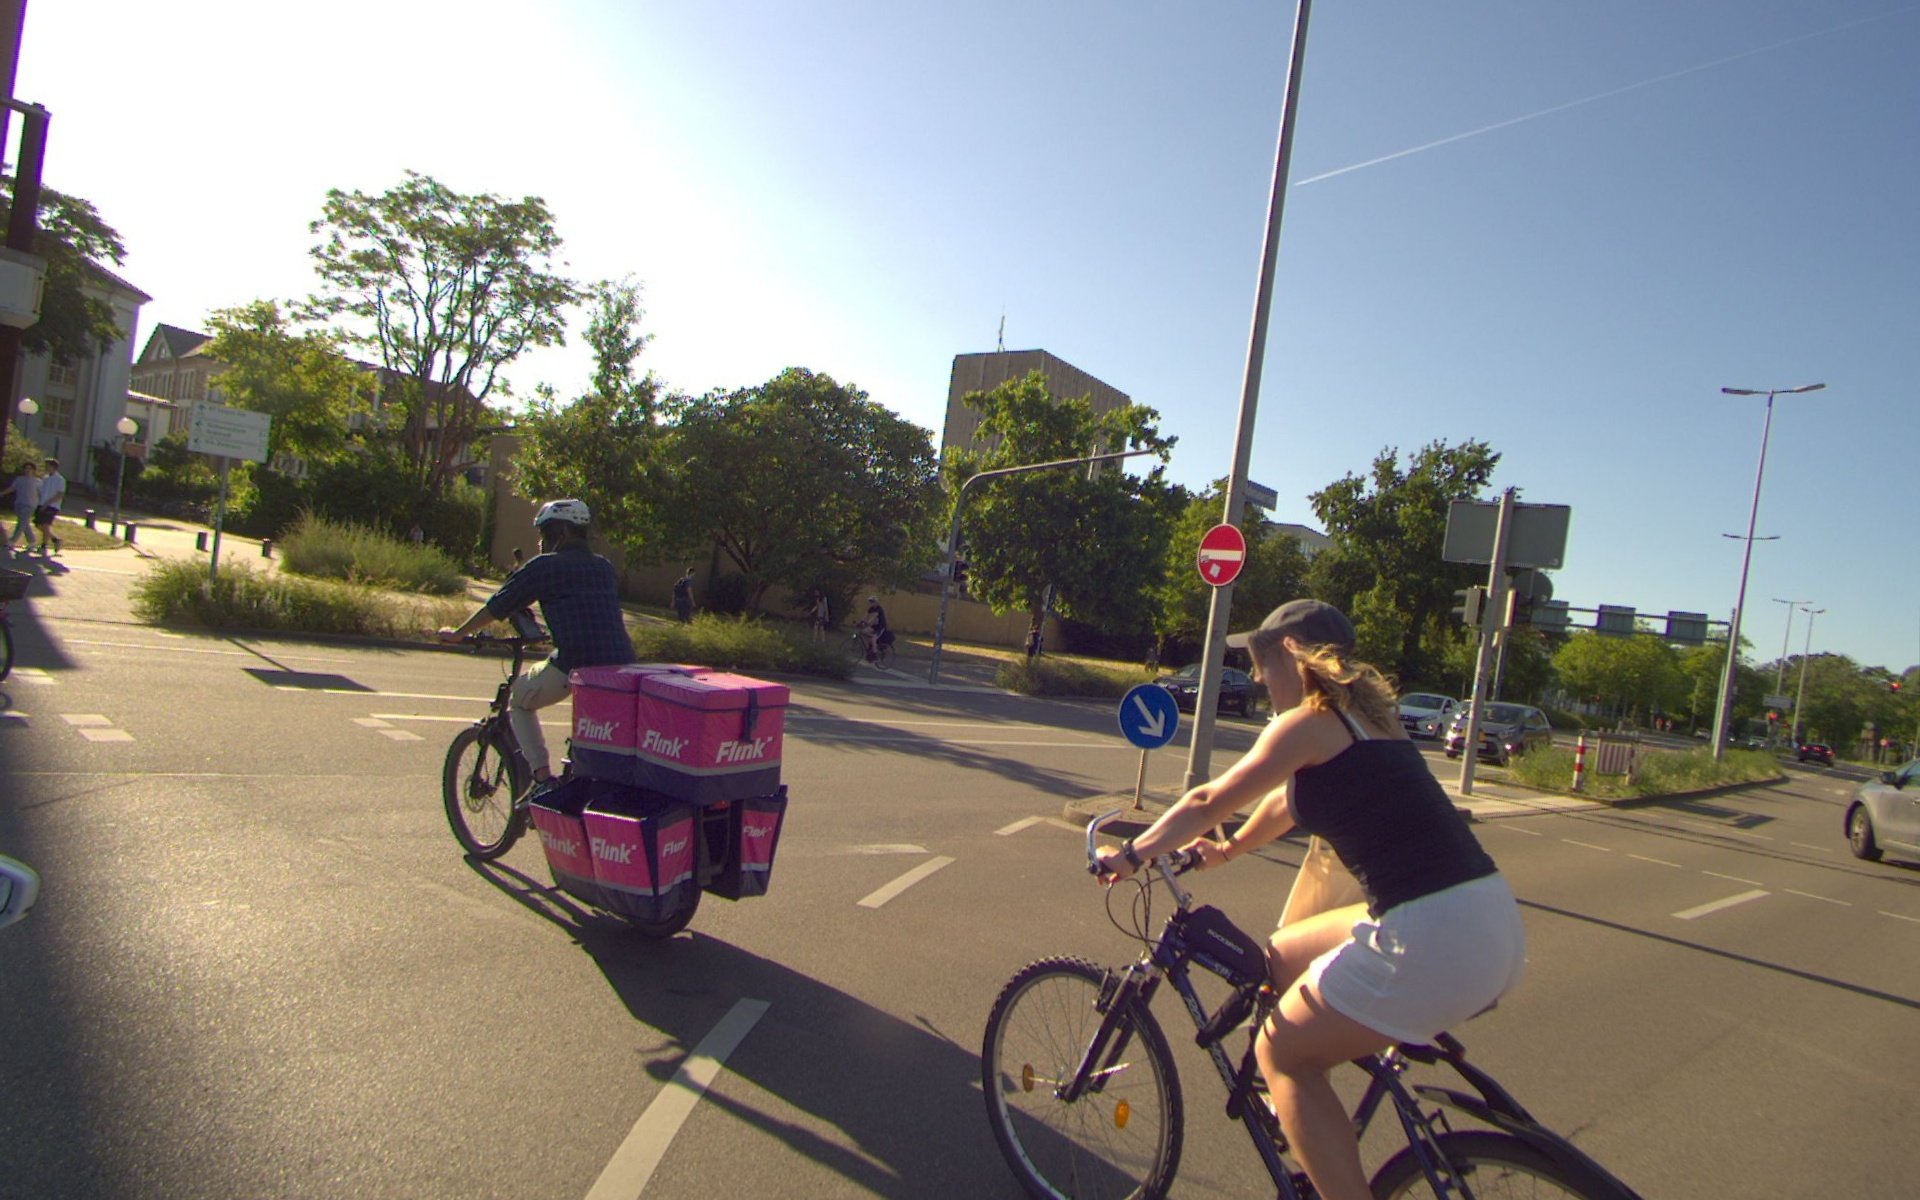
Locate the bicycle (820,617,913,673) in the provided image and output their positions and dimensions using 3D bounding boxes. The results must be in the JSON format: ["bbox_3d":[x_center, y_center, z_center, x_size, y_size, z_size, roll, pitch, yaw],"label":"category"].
[{"bbox_3d":[-2.441,1.196,26.488,2.273,1.170,0.772,8,0,-38],"label":"bicycle"}]

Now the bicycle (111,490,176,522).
[{"bbox_3d":[-49.845,-5.721,61.419,0.673,1.396,2.870,8,-2,43],"label":"bicycle"}]

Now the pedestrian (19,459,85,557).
[{"bbox_3d":[-18.789,-1.892,20.827,0.611,1.892,0.577,8,1,4],"label":"pedestrian"}]

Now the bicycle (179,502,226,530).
[{"bbox_3d":[-39.583,-4.371,52.613,0.493,1.120,1.793,8,-2,43],"label":"bicycle"}]

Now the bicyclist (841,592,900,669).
[{"bbox_3d":[-2.351,0.798,26.501,1.084,1.853,0.772,8,1,-37],"label":"bicyclist"}]

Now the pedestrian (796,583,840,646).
[{"bbox_3d":[-4.234,0.434,30.036,0.666,1.725,0.874,8,1,38],"label":"pedestrian"}]

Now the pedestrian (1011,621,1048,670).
[{"bbox_3d":[2.417,1.600,35.125,0.751,1.562,0.844,9,1,38],"label":"pedestrian"}]

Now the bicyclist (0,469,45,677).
[{"bbox_3d":[-8.373,-0.292,8.165,1.072,1.697,0.781,8,1,13],"label":"bicyclist"}]

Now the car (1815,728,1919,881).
[{"bbox_3d":[12.689,2.694,12.073,1.963,1.704,4.631,8,-1,19],"label":"car"}]

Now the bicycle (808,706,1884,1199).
[{"bbox_3d":[0.664,0.987,2.246,1.839,1.134,0.718,9,-1,34],"label":"bicycle"}]

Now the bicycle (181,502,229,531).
[{"bbox_3d":[-39.033,-4.328,52.035,0.493,1.120,1.793,8,-2,43],"label":"bicycle"}]

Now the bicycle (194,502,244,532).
[{"bbox_3d":[-36.481,-4.067,49.542,0.493,1.120,1.793,8,-2,43],"label":"bicycle"}]

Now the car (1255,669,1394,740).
[{"bbox_3d":[10.338,2.968,28.334,4.405,1.537,1.781,9,0,-44],"label":"car"}]

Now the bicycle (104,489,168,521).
[{"bbox_3d":[-51.699,-5.963,63.147,0.673,1.396,2.870,8,-2,43],"label":"bicycle"}]

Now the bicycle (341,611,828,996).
[{"bbox_3d":[-1.841,0.762,4.631,2.542,1.170,0.778,5,-1,38],"label":"bicycle"}]

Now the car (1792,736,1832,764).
[{"bbox_3d":[60.980,10.705,71.994,1.972,1.615,3.983,8,0,41],"label":"car"}]

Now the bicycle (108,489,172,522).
[{"bbox_3d":[-50.480,-5.804,61.989,0.673,1.396,2.870,8,-2,43],"label":"bicycle"}]

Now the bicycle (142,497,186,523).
[{"bbox_3d":[-45.726,-5.174,57.794,0.493,1.120,1.793,8,-2,43],"label":"bicycle"}]

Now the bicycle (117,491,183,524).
[{"bbox_3d":[-48.341,-5.521,60.100,0.673,1.396,2.870,8,-2,43],"label":"bicycle"}]

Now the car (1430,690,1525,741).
[{"bbox_3d":[19.762,4.417,38.330,3.994,1.537,1.901,9,0,-44],"label":"car"}]

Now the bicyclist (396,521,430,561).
[{"bbox_3d":[-22.391,-2.428,41.188,0.614,1.451,0.914,8,-2,42],"label":"bicyclist"}]

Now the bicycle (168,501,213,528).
[{"bbox_3d":[-41.729,-4.631,54.578,0.493,1.120,1.793,8,-2,43],"label":"bicycle"}]

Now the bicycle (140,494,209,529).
[{"bbox_3d":[-44.158,-4.959,56.583,0.673,1.396,2.870,8,-2,43],"label":"bicycle"}]

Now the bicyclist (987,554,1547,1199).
[{"bbox_3d":[0.694,0.764,2.251,0.836,1.566,0.716,8,-1,35],"label":"bicyclist"}]

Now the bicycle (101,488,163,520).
[{"bbox_3d":[-52.838,-6.111,64.226,0.673,1.396,2.870,8,-2,43],"label":"bicycle"}]

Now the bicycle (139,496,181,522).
[{"bbox_3d":[-46.937,-5.327,59.041,0.493,1.120,1.793,8,-2,43],"label":"bicycle"}]

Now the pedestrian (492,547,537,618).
[{"bbox_3d":[-10.684,-0.426,24.121,0.614,1.594,0.636,9,1,43],"label":"pedestrian"}]

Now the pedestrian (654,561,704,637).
[{"bbox_3d":[-6.862,-0.029,24.592,0.703,1.734,0.730,9,1,43],"label":"pedestrian"}]

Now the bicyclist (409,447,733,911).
[{"bbox_3d":[-1.795,0.313,4.640,1.077,1.855,0.778,5,-1,37],"label":"bicyclist"}]

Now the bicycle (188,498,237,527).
[{"bbox_3d":[-37.797,-4.420,50.891,0.493,1.120,1.793,8,-2,43],"label":"bicycle"}]

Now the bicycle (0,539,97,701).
[{"bbox_3d":[-8.345,0.041,8.155,2.248,1.170,0.781,9,0,13],"label":"bicycle"}]

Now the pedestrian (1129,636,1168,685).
[{"bbox_3d":[7.543,2.422,40.214,1.003,1.771,0.847,9,1,38],"label":"pedestrian"}]

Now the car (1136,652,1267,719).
[{"bbox_3d":[7.218,2.555,29.874,3.976,1.537,1.781,9,0,-44],"label":"car"}]

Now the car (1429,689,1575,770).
[{"bbox_3d":[13.383,3.200,24.738,3.994,1.537,1.901,9,0,-44],"label":"car"}]

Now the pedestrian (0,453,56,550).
[{"bbox_3d":[-19.464,-2.032,20.915,0.611,1.892,0.577,8,1,4],"label":"pedestrian"}]

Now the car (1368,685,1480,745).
[{"bbox_3d":[15.405,3.834,33.305,3.994,1.537,1.901,9,0,-44],"label":"car"}]

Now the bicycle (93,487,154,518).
[{"bbox_3d":[-54.421,-6.326,65.488,0.673,1.396,2.870,8,-2,43],"label":"bicycle"}]
